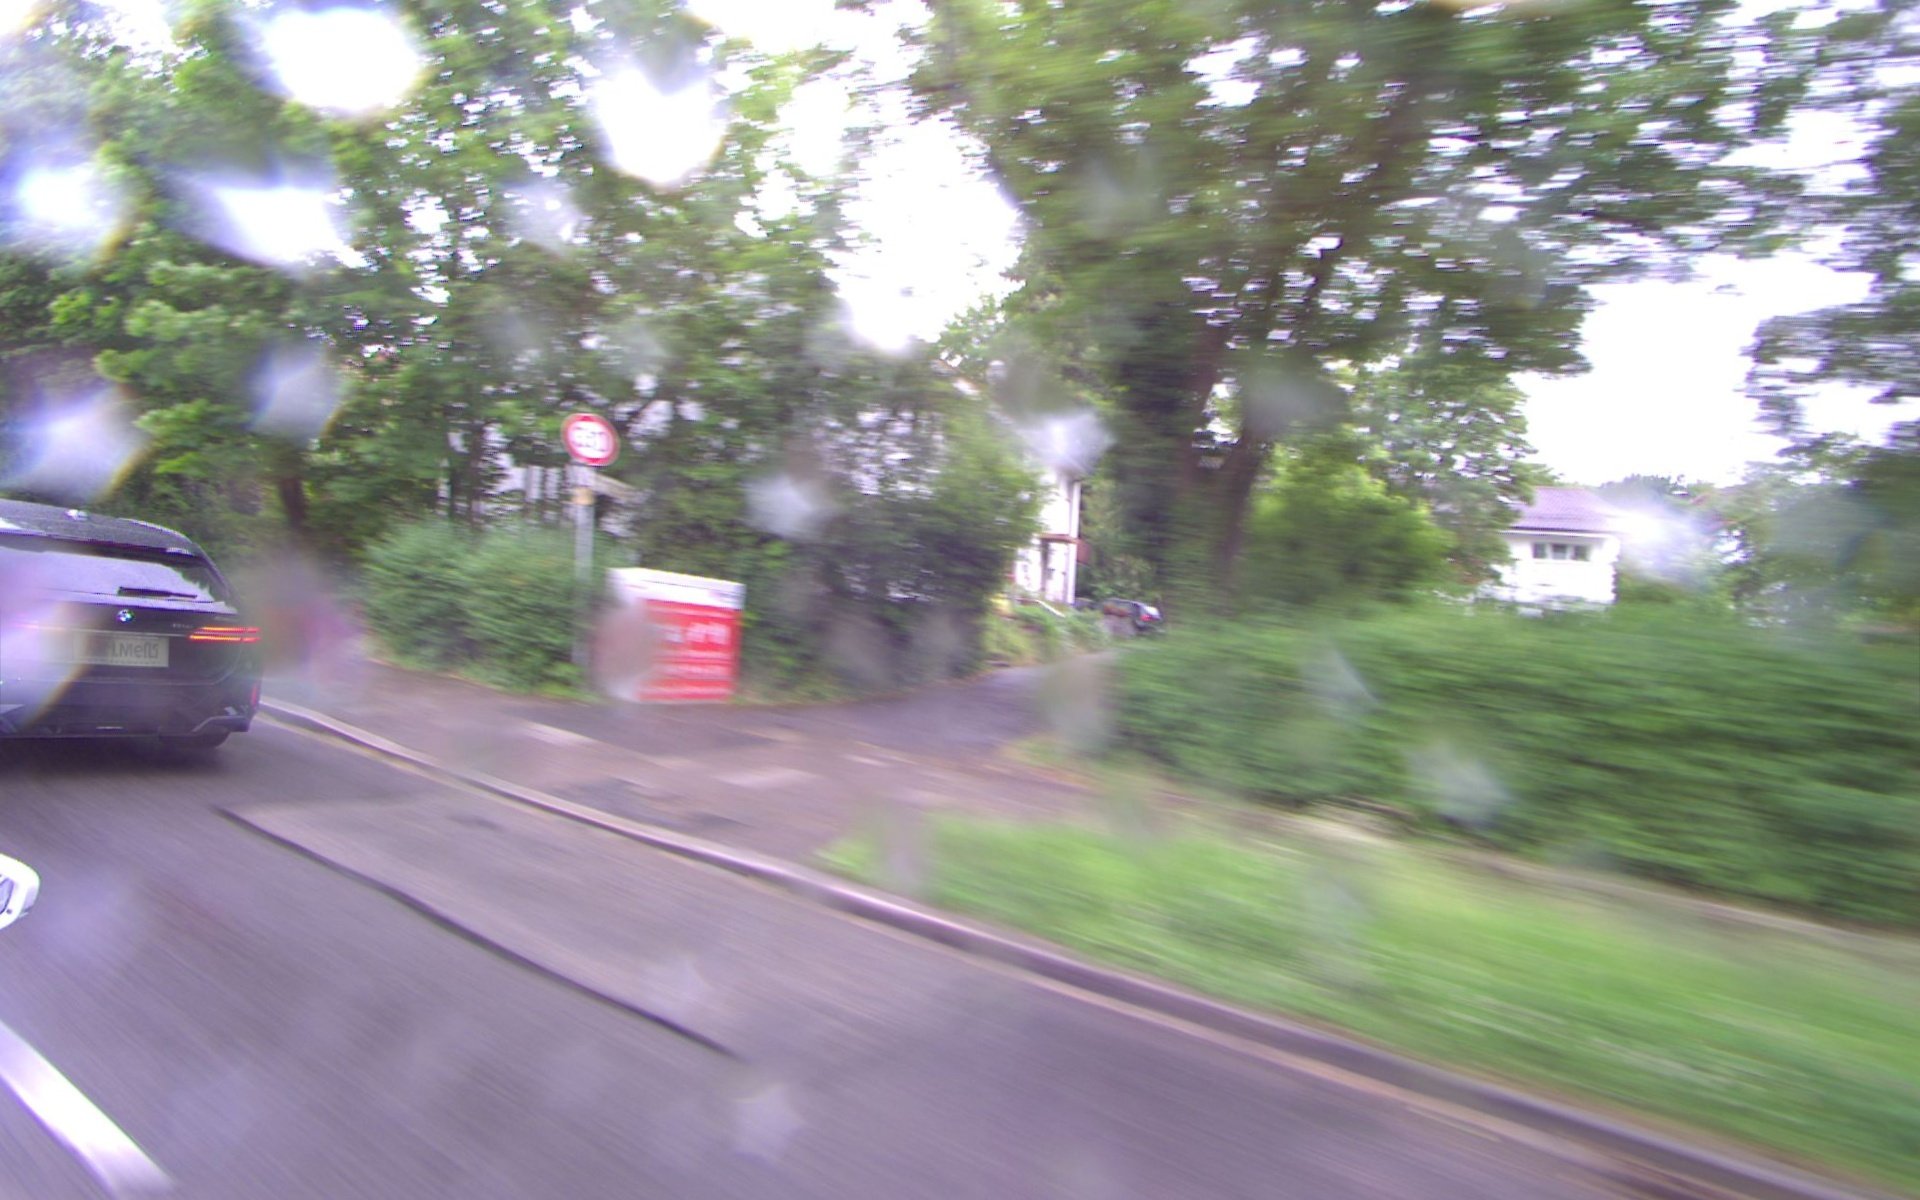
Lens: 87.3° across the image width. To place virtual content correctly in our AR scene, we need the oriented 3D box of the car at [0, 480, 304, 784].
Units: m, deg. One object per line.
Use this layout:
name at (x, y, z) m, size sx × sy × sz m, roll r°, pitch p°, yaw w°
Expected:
car at (-6.204, 0.068, 6.522) m, size 3.612 × 1.554 × 1.768 m, roll 6°, pitch -2°, yaw 32°
